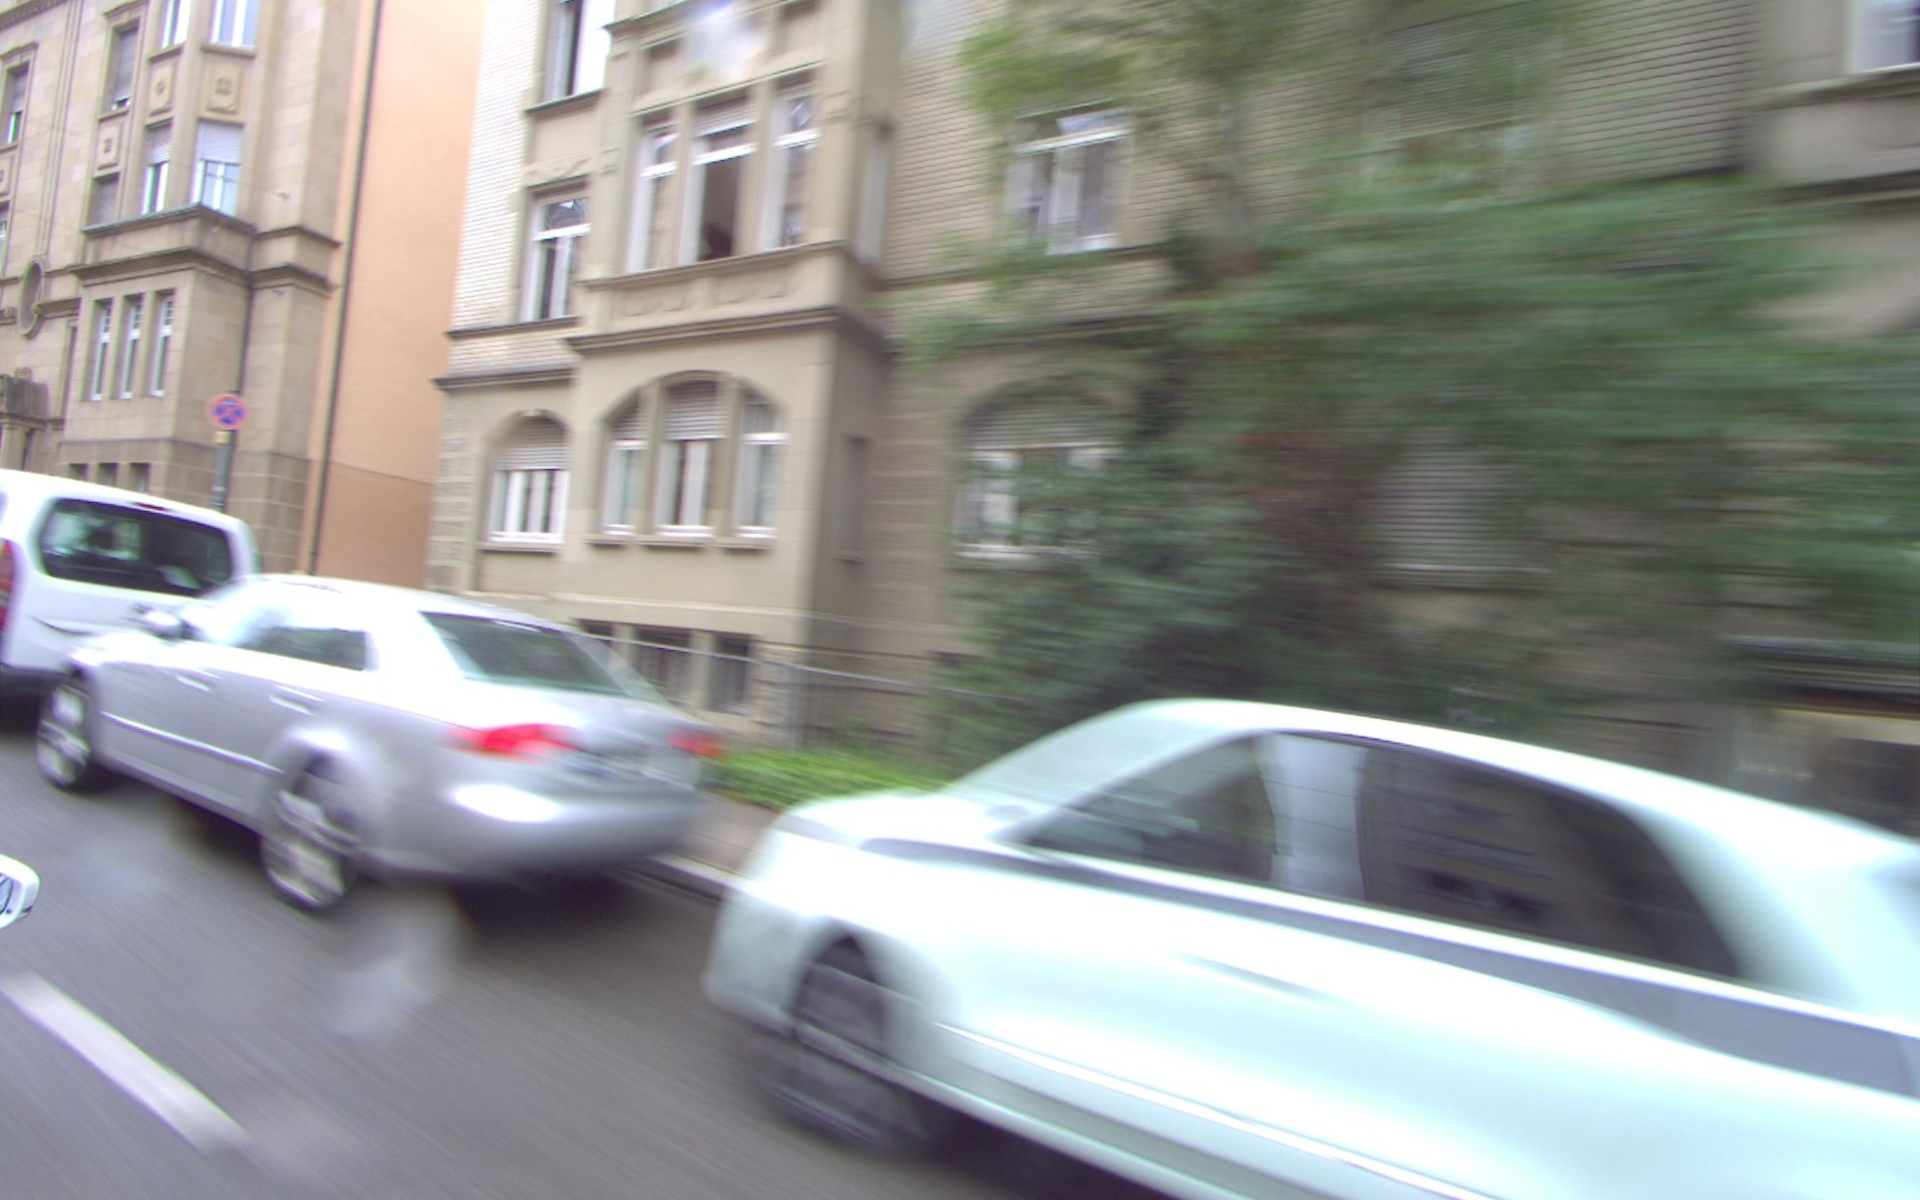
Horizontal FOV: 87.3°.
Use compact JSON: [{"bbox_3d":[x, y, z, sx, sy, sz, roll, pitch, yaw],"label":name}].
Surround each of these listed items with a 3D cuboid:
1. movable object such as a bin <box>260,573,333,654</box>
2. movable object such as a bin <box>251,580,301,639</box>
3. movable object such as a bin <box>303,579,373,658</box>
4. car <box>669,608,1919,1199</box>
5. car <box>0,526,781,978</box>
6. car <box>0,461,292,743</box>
[{"bbox_3d":[-9.640,0.198,14.615,0.654,1.040,0.529,6,-6,35],"label":"movable object such as a bin"},{"bbox_3d":[-12.268,0.172,18.048,0.510,0.951,0.395,6,-6,26],"label":"movable object such as a bin"},{"bbox_3d":[-9.390,0.282,15.192,0.599,1.071,0.501,7,-5,29],"label":"movable object such as a bin"},{"bbox_3d":[1.070,1.100,3.146,3.522,1.562,1.566,7,-4,28],"label":"car"},{"bbox_3d":[-3.367,0.613,5.678,4.402,1.415,1.755,7,-4,30],"label":"car"},{"bbox_3d":[-7.782,-0.120,8.225,4.385,1.783,1.805,7,-4,28],"label":"car"}]
